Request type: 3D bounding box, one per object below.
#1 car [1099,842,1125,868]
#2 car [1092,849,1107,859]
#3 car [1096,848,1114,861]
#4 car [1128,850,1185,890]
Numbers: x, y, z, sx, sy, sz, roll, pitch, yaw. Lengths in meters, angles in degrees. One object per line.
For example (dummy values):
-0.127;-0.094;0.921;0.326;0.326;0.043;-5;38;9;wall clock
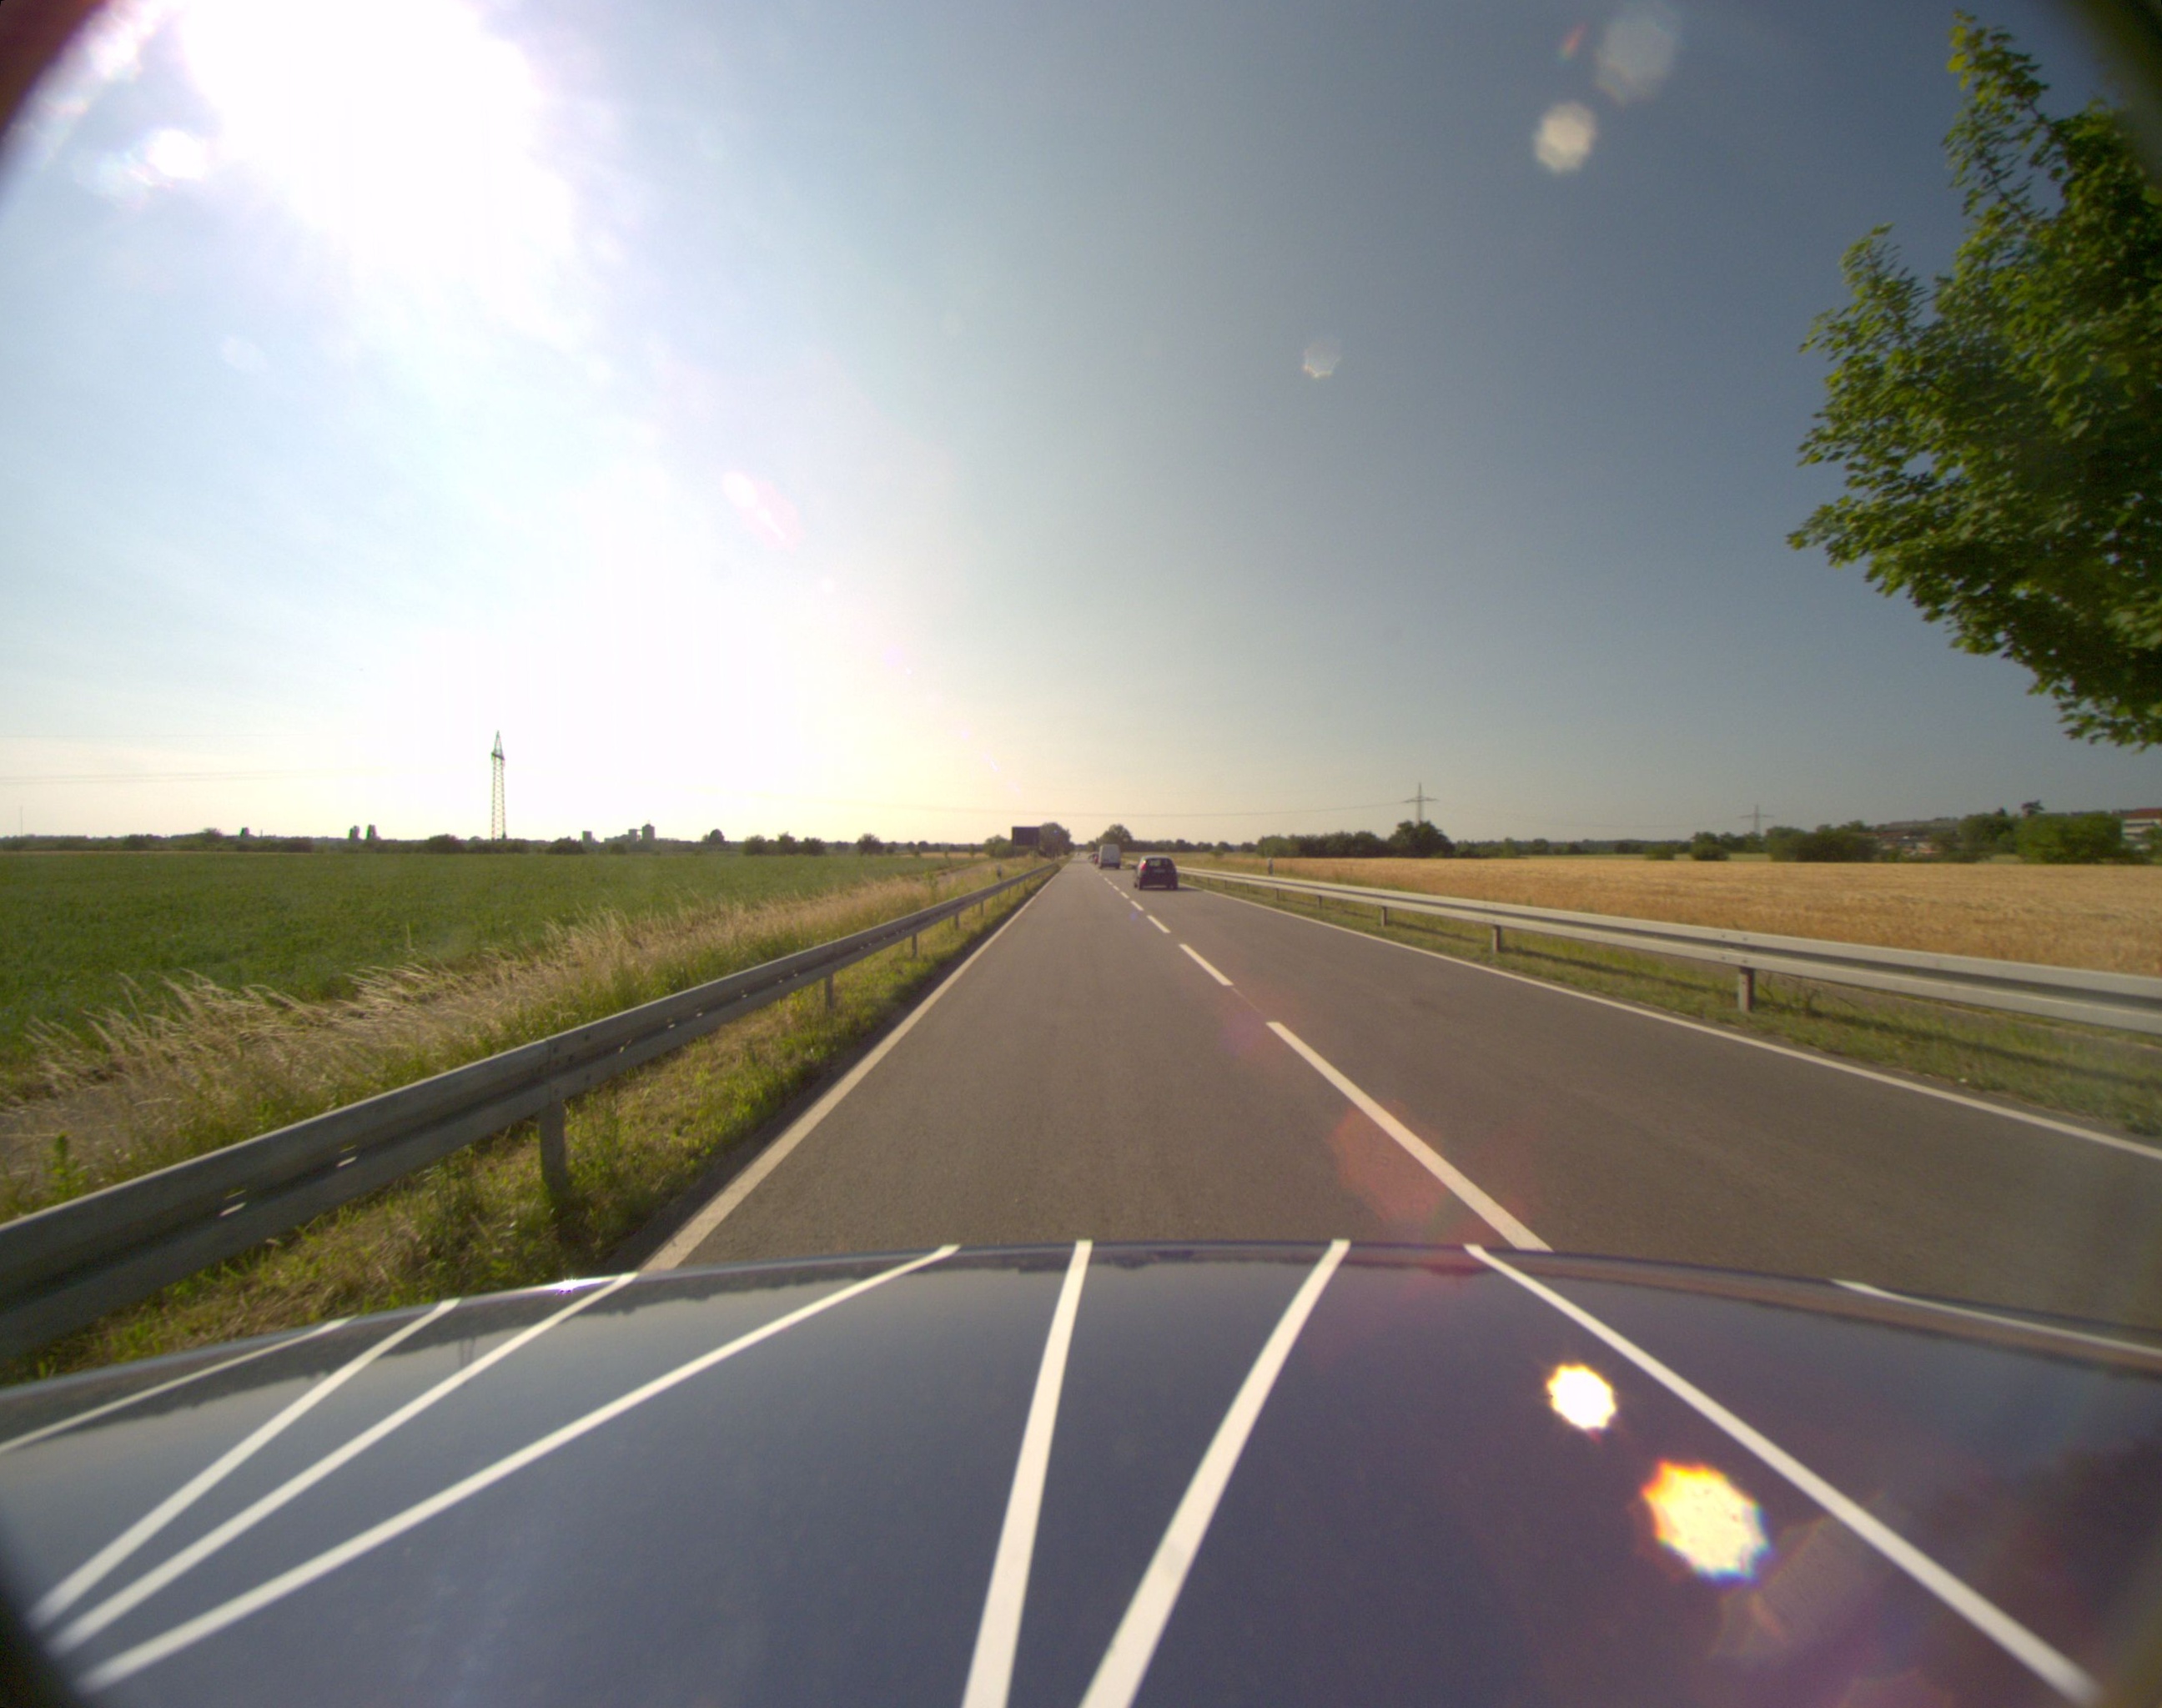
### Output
3.145;0.014;78.679;2.405;2.561;5.373;0;2;0;car
3.166;-0.059;132.374;2.405;1.679;5.373;0;2;0;car
3.472;0.080;111.213;2.405;1.680;5.372;0;3;0;car
3.257;0.646;33.571;2.014;1.576;4.826;0;2;0;car
